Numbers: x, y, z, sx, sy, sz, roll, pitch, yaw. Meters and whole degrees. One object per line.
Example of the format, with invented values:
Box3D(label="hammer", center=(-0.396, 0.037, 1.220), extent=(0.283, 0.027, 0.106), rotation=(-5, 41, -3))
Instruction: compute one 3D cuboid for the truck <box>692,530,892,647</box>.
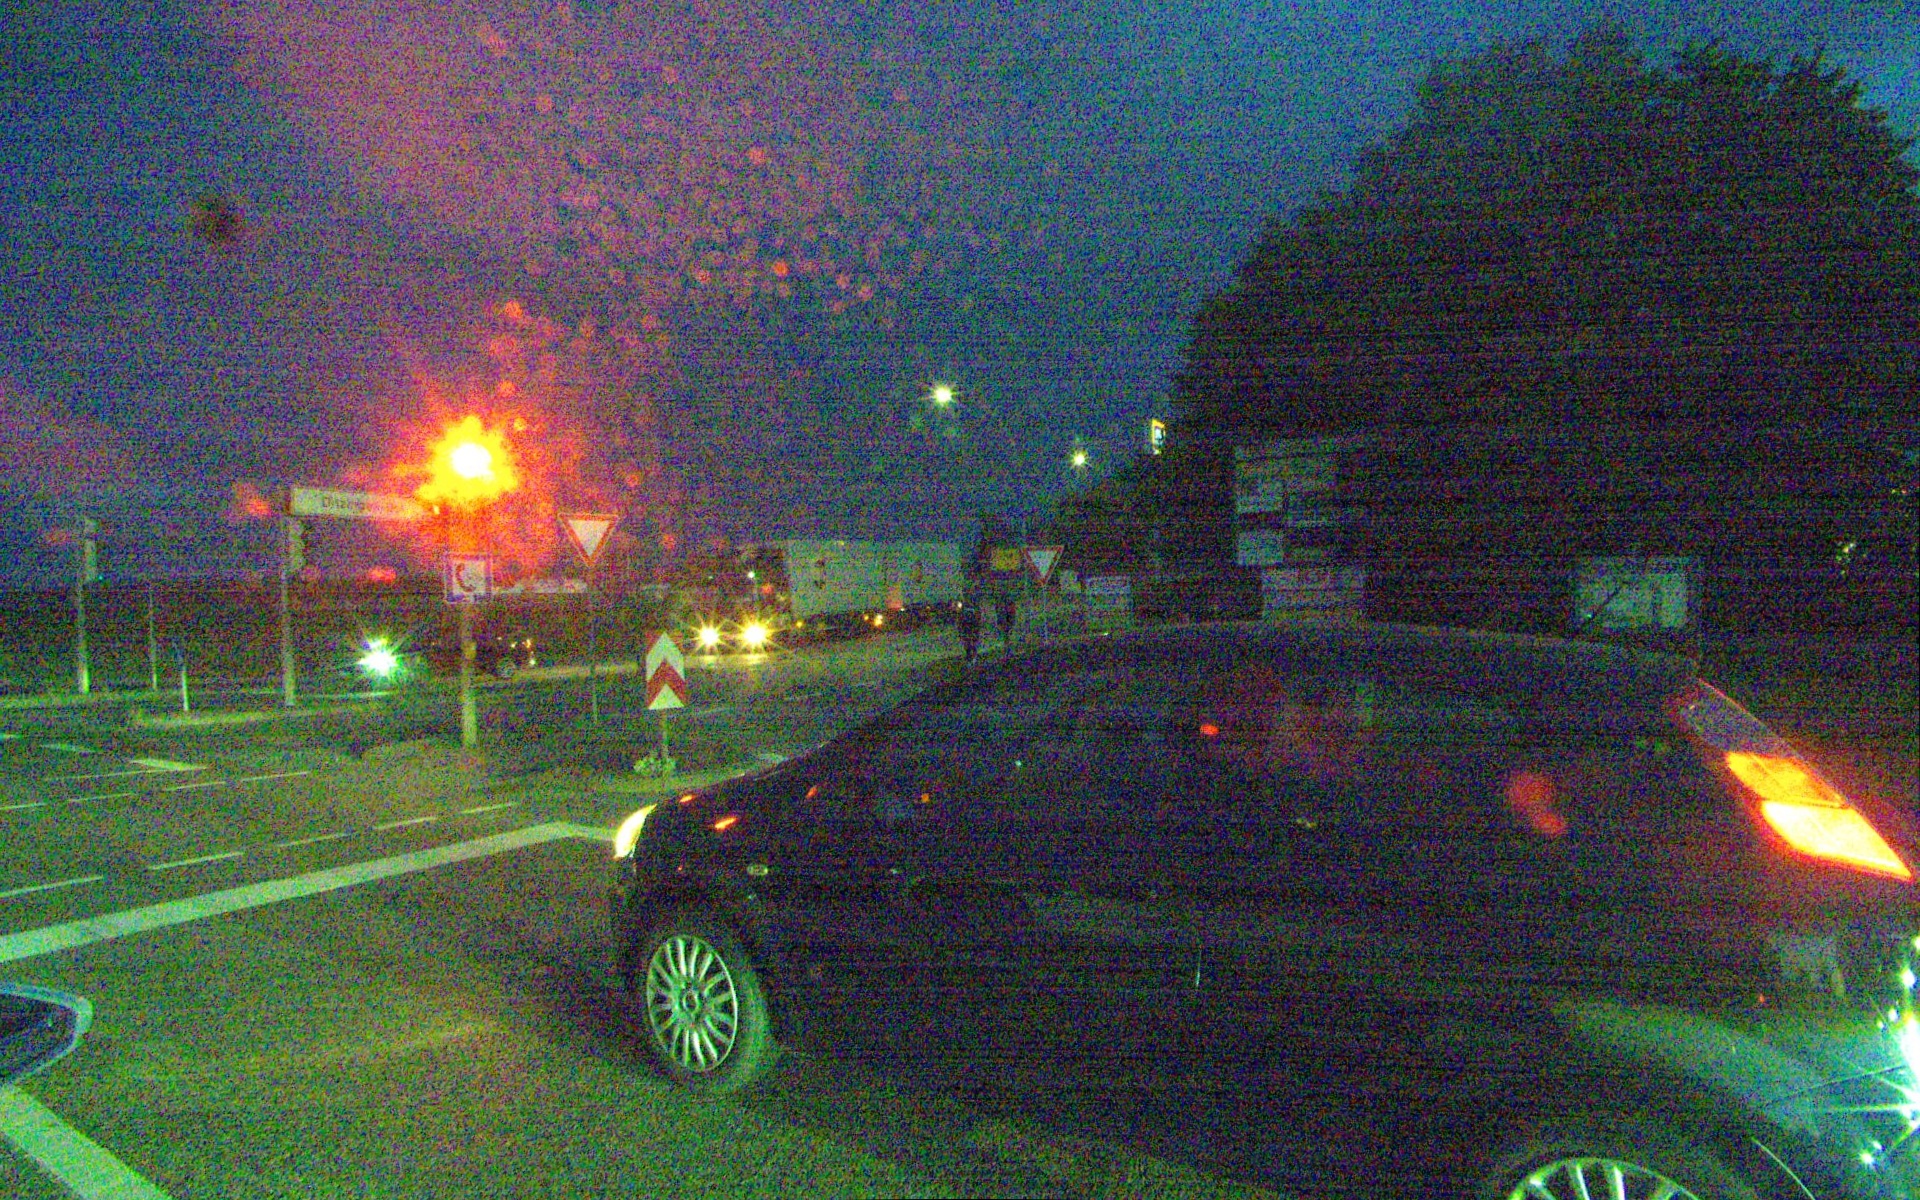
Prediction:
Box3D(label="truck", center=(-6.247, -0.462, 39.706), extent=(2.876, 4.033, 10.042), rotation=(-1, 1, 23))

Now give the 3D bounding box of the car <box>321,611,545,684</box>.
Box3D(label="car", center=(-13.038, 1.110, 25.059), extent=(1.972, 1.541, 4.590), rotation=(-1, 1, 33))

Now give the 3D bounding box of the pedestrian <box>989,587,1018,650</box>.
Box3D(label="pedestrian", center=(1.370, 0.574, 31.298), extent=(0.860, 1.925, 0.660), rotation=(-1, 1, 6))

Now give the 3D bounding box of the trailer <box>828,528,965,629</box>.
Box3D(label="trailer", center=(-2.810, -1.112, 48.388), extent=(2.875, 4.361, 9.043), rotation=(-1, 2, 22))

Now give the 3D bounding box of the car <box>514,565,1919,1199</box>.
Box3D(label="car", center=(0.515, 0.756, 3.194), extent=(4.049, 1.540, 1.666), rotation=(-1, -1, 34))

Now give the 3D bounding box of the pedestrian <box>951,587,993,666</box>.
Box3D(label="pedestrian", center=(0.292, 0.630, 24.498), extent=(0.861, 1.859, 0.731), rotation=(-3, 1, 6))
